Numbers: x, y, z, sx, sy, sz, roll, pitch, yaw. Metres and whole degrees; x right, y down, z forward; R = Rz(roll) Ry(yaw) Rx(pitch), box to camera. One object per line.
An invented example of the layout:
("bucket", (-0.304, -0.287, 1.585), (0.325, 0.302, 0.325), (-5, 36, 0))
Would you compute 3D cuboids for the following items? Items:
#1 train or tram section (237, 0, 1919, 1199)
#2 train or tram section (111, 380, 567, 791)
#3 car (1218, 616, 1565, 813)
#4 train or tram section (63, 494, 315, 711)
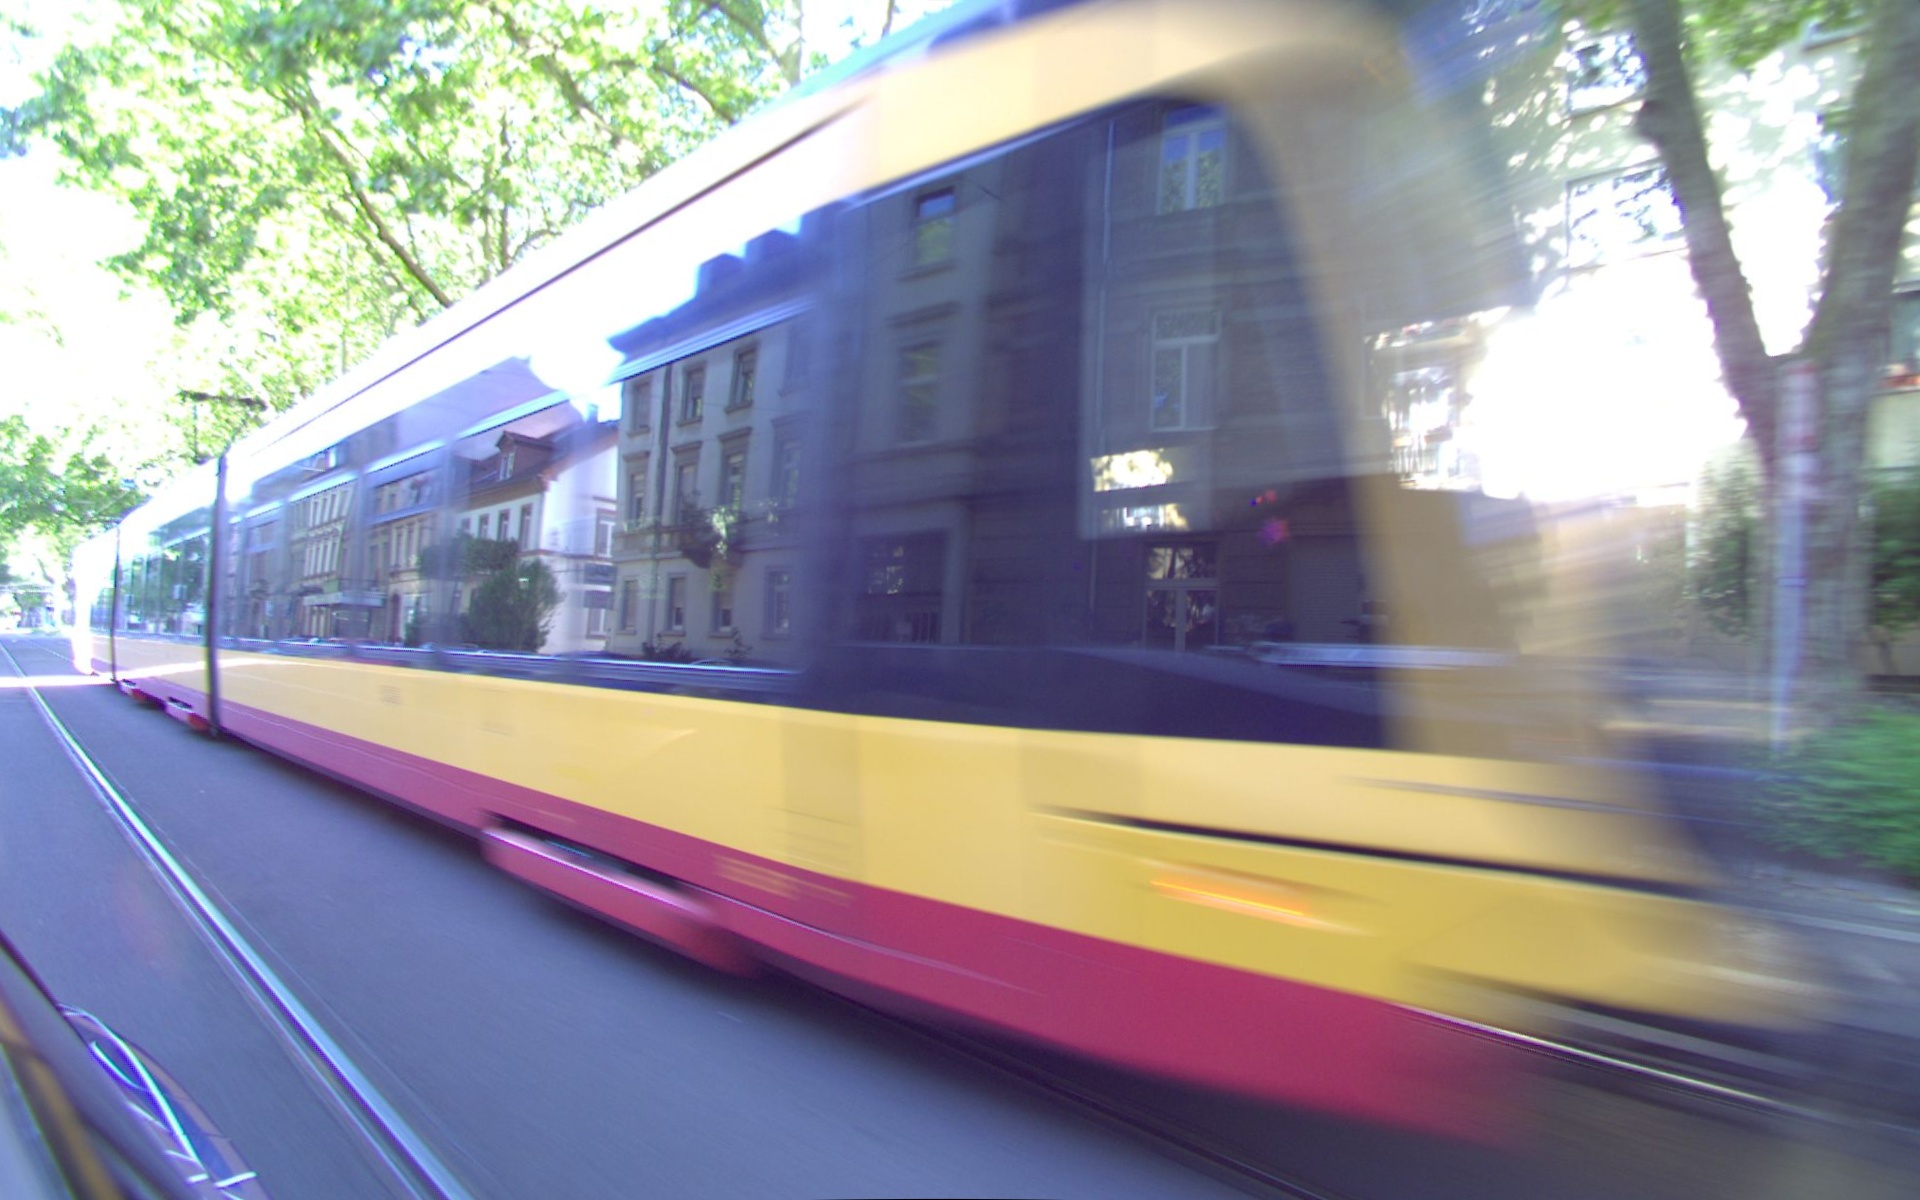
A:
("train or tram section", (-1.422, -0.316, 5.958), (2.903, 3.646, 11.070), (-1, 0, -44))
("train or tram section", (-9.276, -0.104, 14.017), (2.903, 3.646, 11.266), (-1, 0, -44))
("car", (4.482, 0.966, 10.204), (1.870, 1.456, 4.012), (-2, -1, 44))
("train or tram section", (-17.570, 0.075, 22.511), (2.903, 3.646, 12.419), (-1, 0, -44))
